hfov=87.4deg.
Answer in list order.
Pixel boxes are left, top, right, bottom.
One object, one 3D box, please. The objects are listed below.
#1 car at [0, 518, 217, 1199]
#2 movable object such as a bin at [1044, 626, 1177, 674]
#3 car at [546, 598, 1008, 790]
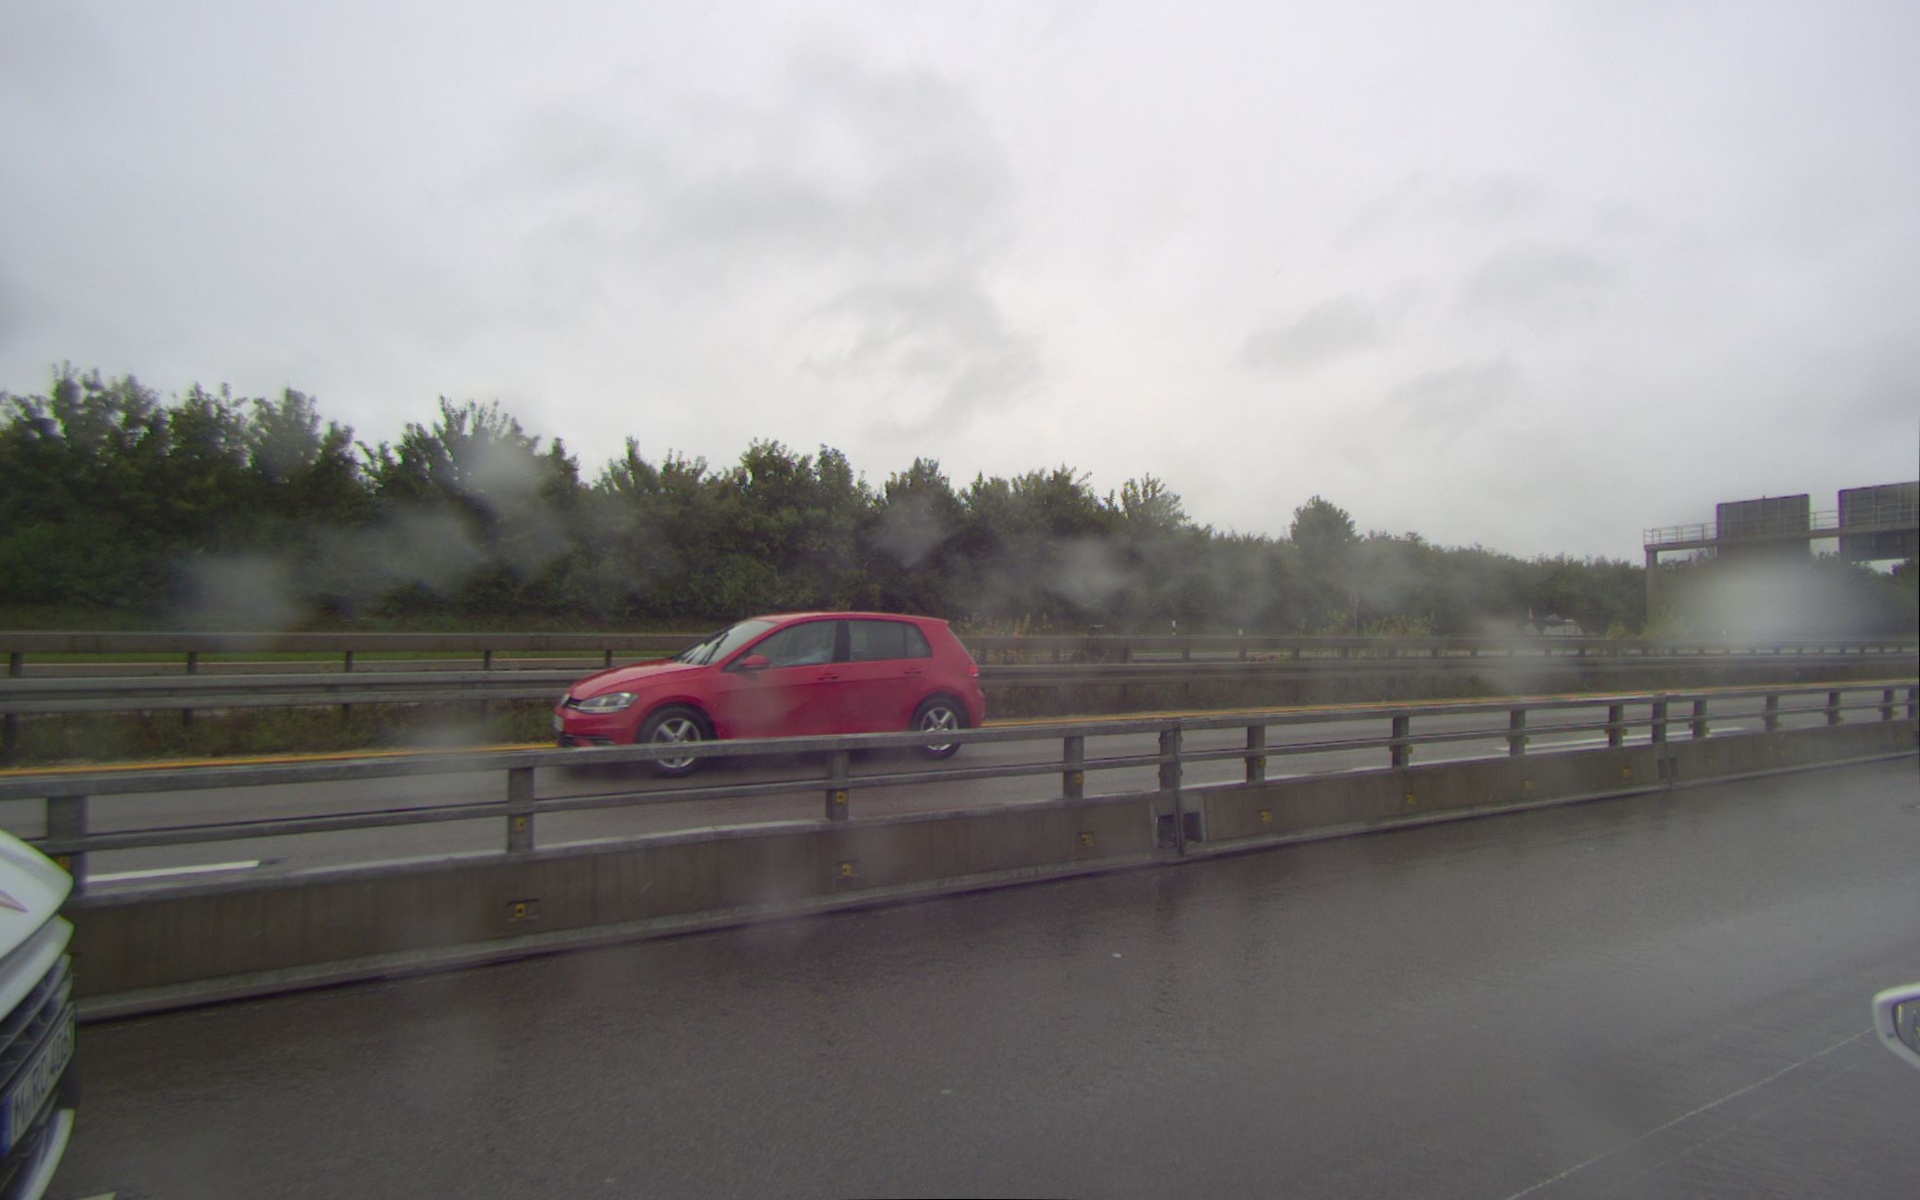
[{"bbox_3d":[-3.851,0.596,0.839,4.948,1.571,1.918,2,0,-30],"label":"car"},{"bbox_3d":[5.050,1.660,33.658,3.953,1.444,2.116,2,0,-30],"label":"movable object such as a bin"},{"bbox_3d":[-1.719,0.829,9.893,4.168,1.524,1.600,2,0,-31],"label":"car"}]
